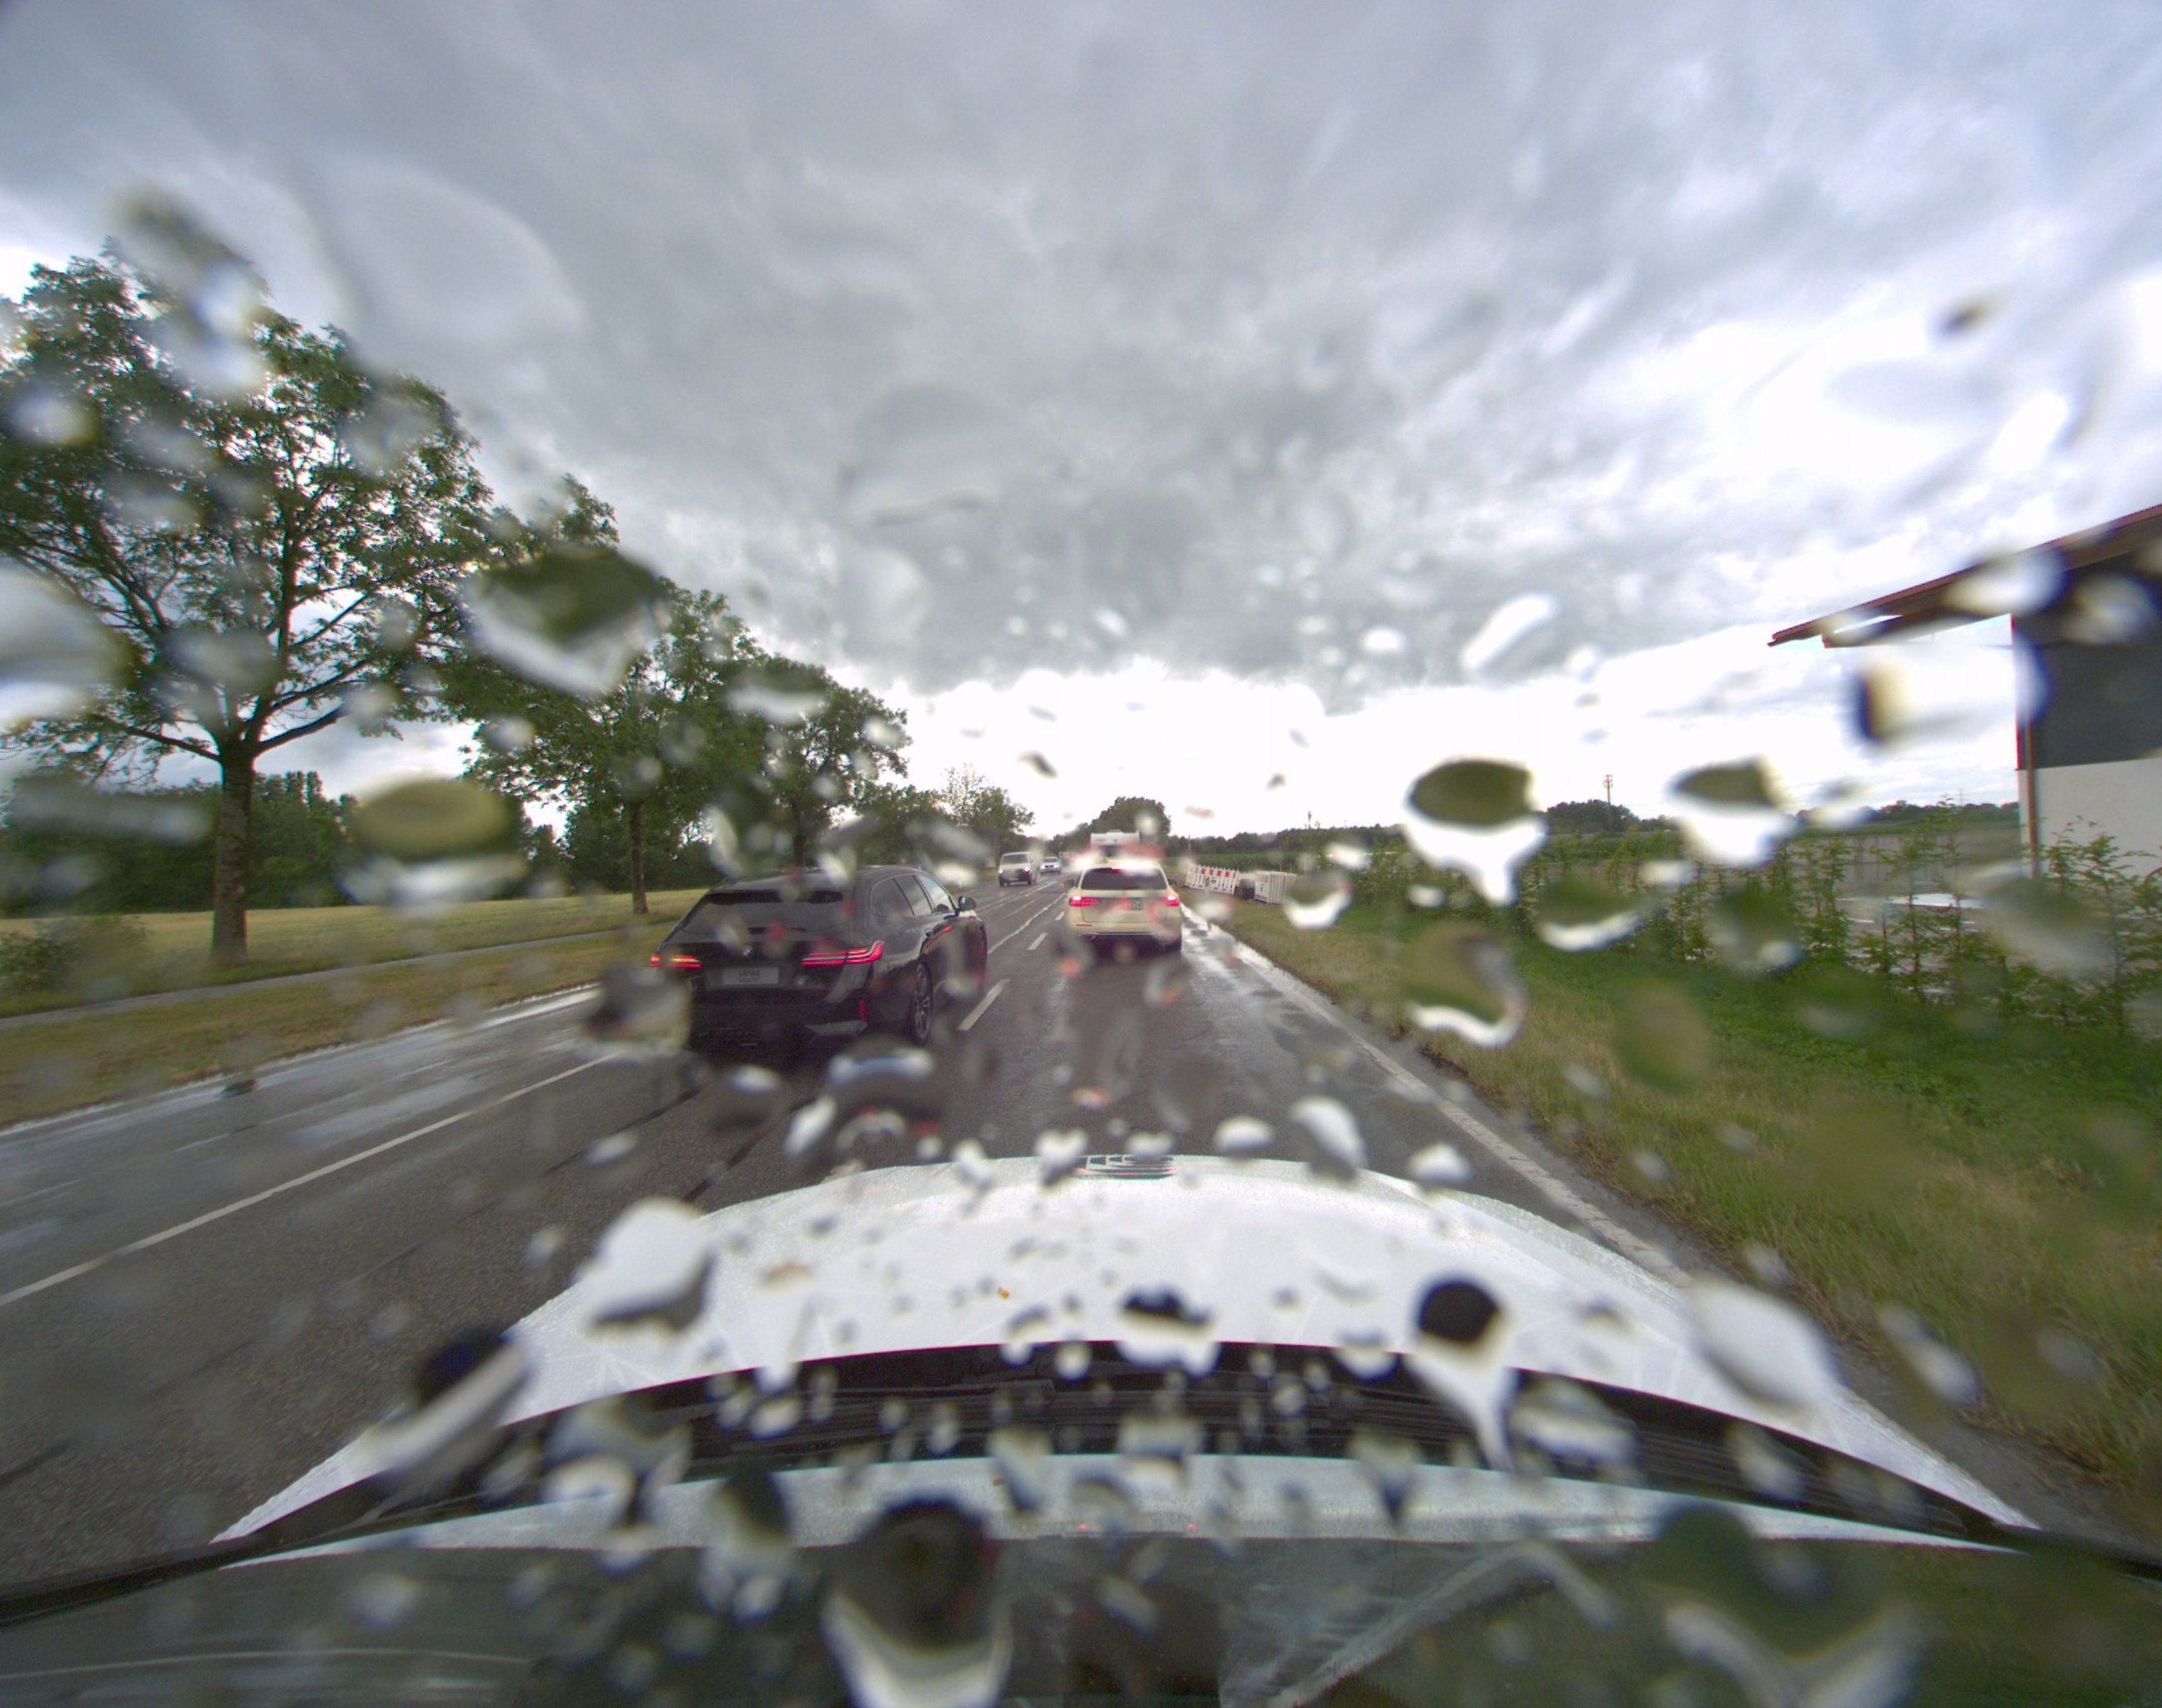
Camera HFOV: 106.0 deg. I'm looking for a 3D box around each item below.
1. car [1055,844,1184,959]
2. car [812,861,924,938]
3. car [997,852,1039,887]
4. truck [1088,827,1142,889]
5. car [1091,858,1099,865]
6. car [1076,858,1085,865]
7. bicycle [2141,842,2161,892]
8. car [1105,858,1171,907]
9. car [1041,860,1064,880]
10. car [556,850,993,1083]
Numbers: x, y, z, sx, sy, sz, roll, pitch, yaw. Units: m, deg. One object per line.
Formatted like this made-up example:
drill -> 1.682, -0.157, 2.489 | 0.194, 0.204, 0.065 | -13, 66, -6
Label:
car -> 0.614, 0.690, 13.694 | 1.836, 1.618, 4.001 | -1, 0, 2
car -> -4.890, 0.985, 19.129 | 1.494, 1.530, 3.303 | -4, 0, 3
car -> -3.723, 0.921, 48.788 | 1.910, 1.861, 4.686 | -4, -1, 1
truck -> 1.684, 0.189, 40.949 | 2.355, 2.729, 7.317 | -2, 0, 2
car -> 3.475, 1.899, 207.000 | 1.890, 1.895, 3.841 | -3, 0, -1
car -> -0.085, 1.603, 173.244 | 1.713, 1.404, 4.044 | -4, 0, 1
bicycle -> 23.827, 0.279, 17.331 | 0.389, 1.072, 1.661 | -2, 0, 2
car -> 1.773, 0.860, 26.470 | 1.986, 1.462, 4.001 | 0, -1, 2
car -> -2.635, 1.447, 76.135 | 1.697, 1.671, 4.158 | -4, 0, 3
car -> -2.314, 0.776, 7.788 | 2.293, 1.547, 4.634 | 0, 0, 2
